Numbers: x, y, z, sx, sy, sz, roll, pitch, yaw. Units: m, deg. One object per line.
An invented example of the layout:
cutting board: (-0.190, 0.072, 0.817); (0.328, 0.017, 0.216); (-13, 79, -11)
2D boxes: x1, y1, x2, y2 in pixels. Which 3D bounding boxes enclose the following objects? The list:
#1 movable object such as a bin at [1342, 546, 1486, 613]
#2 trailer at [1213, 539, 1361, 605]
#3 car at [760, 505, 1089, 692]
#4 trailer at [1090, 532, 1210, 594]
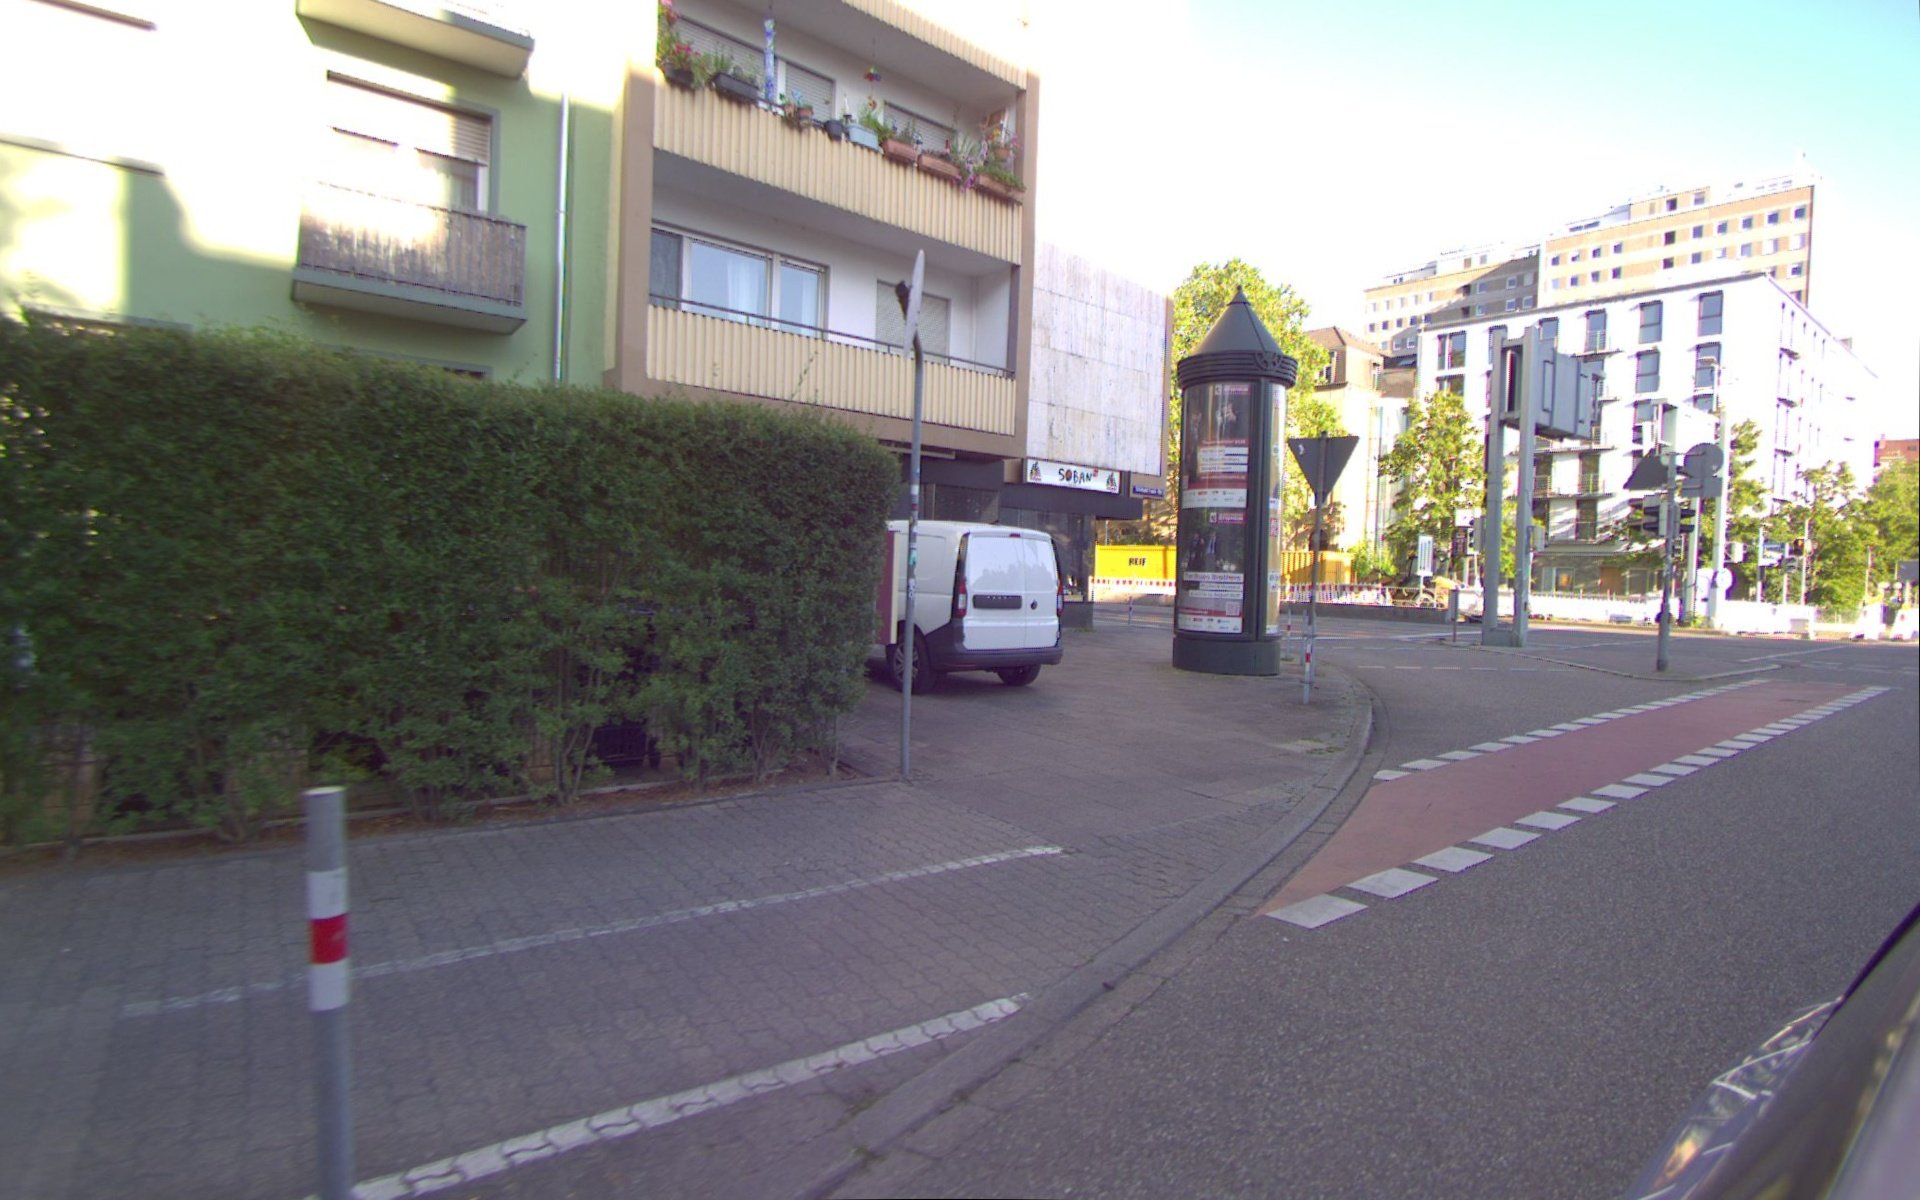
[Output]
movable object such as a bin: (19.076, -0.922, 42.756); (1.963, 2.625, 5.215); (1, 2, -37)
trailer: (15.224, -1.352, 47.458); (2.497, 2.903, 6.121); (1, 2, -41)
car: (-0.596, -0.094, 12.111); (1.827, 1.836, 4.099); (1, 2, -38)
trailer: (9.962, -1.978, 53.613); (2.363, 3.053, 6.127); (1, 2, -38)
